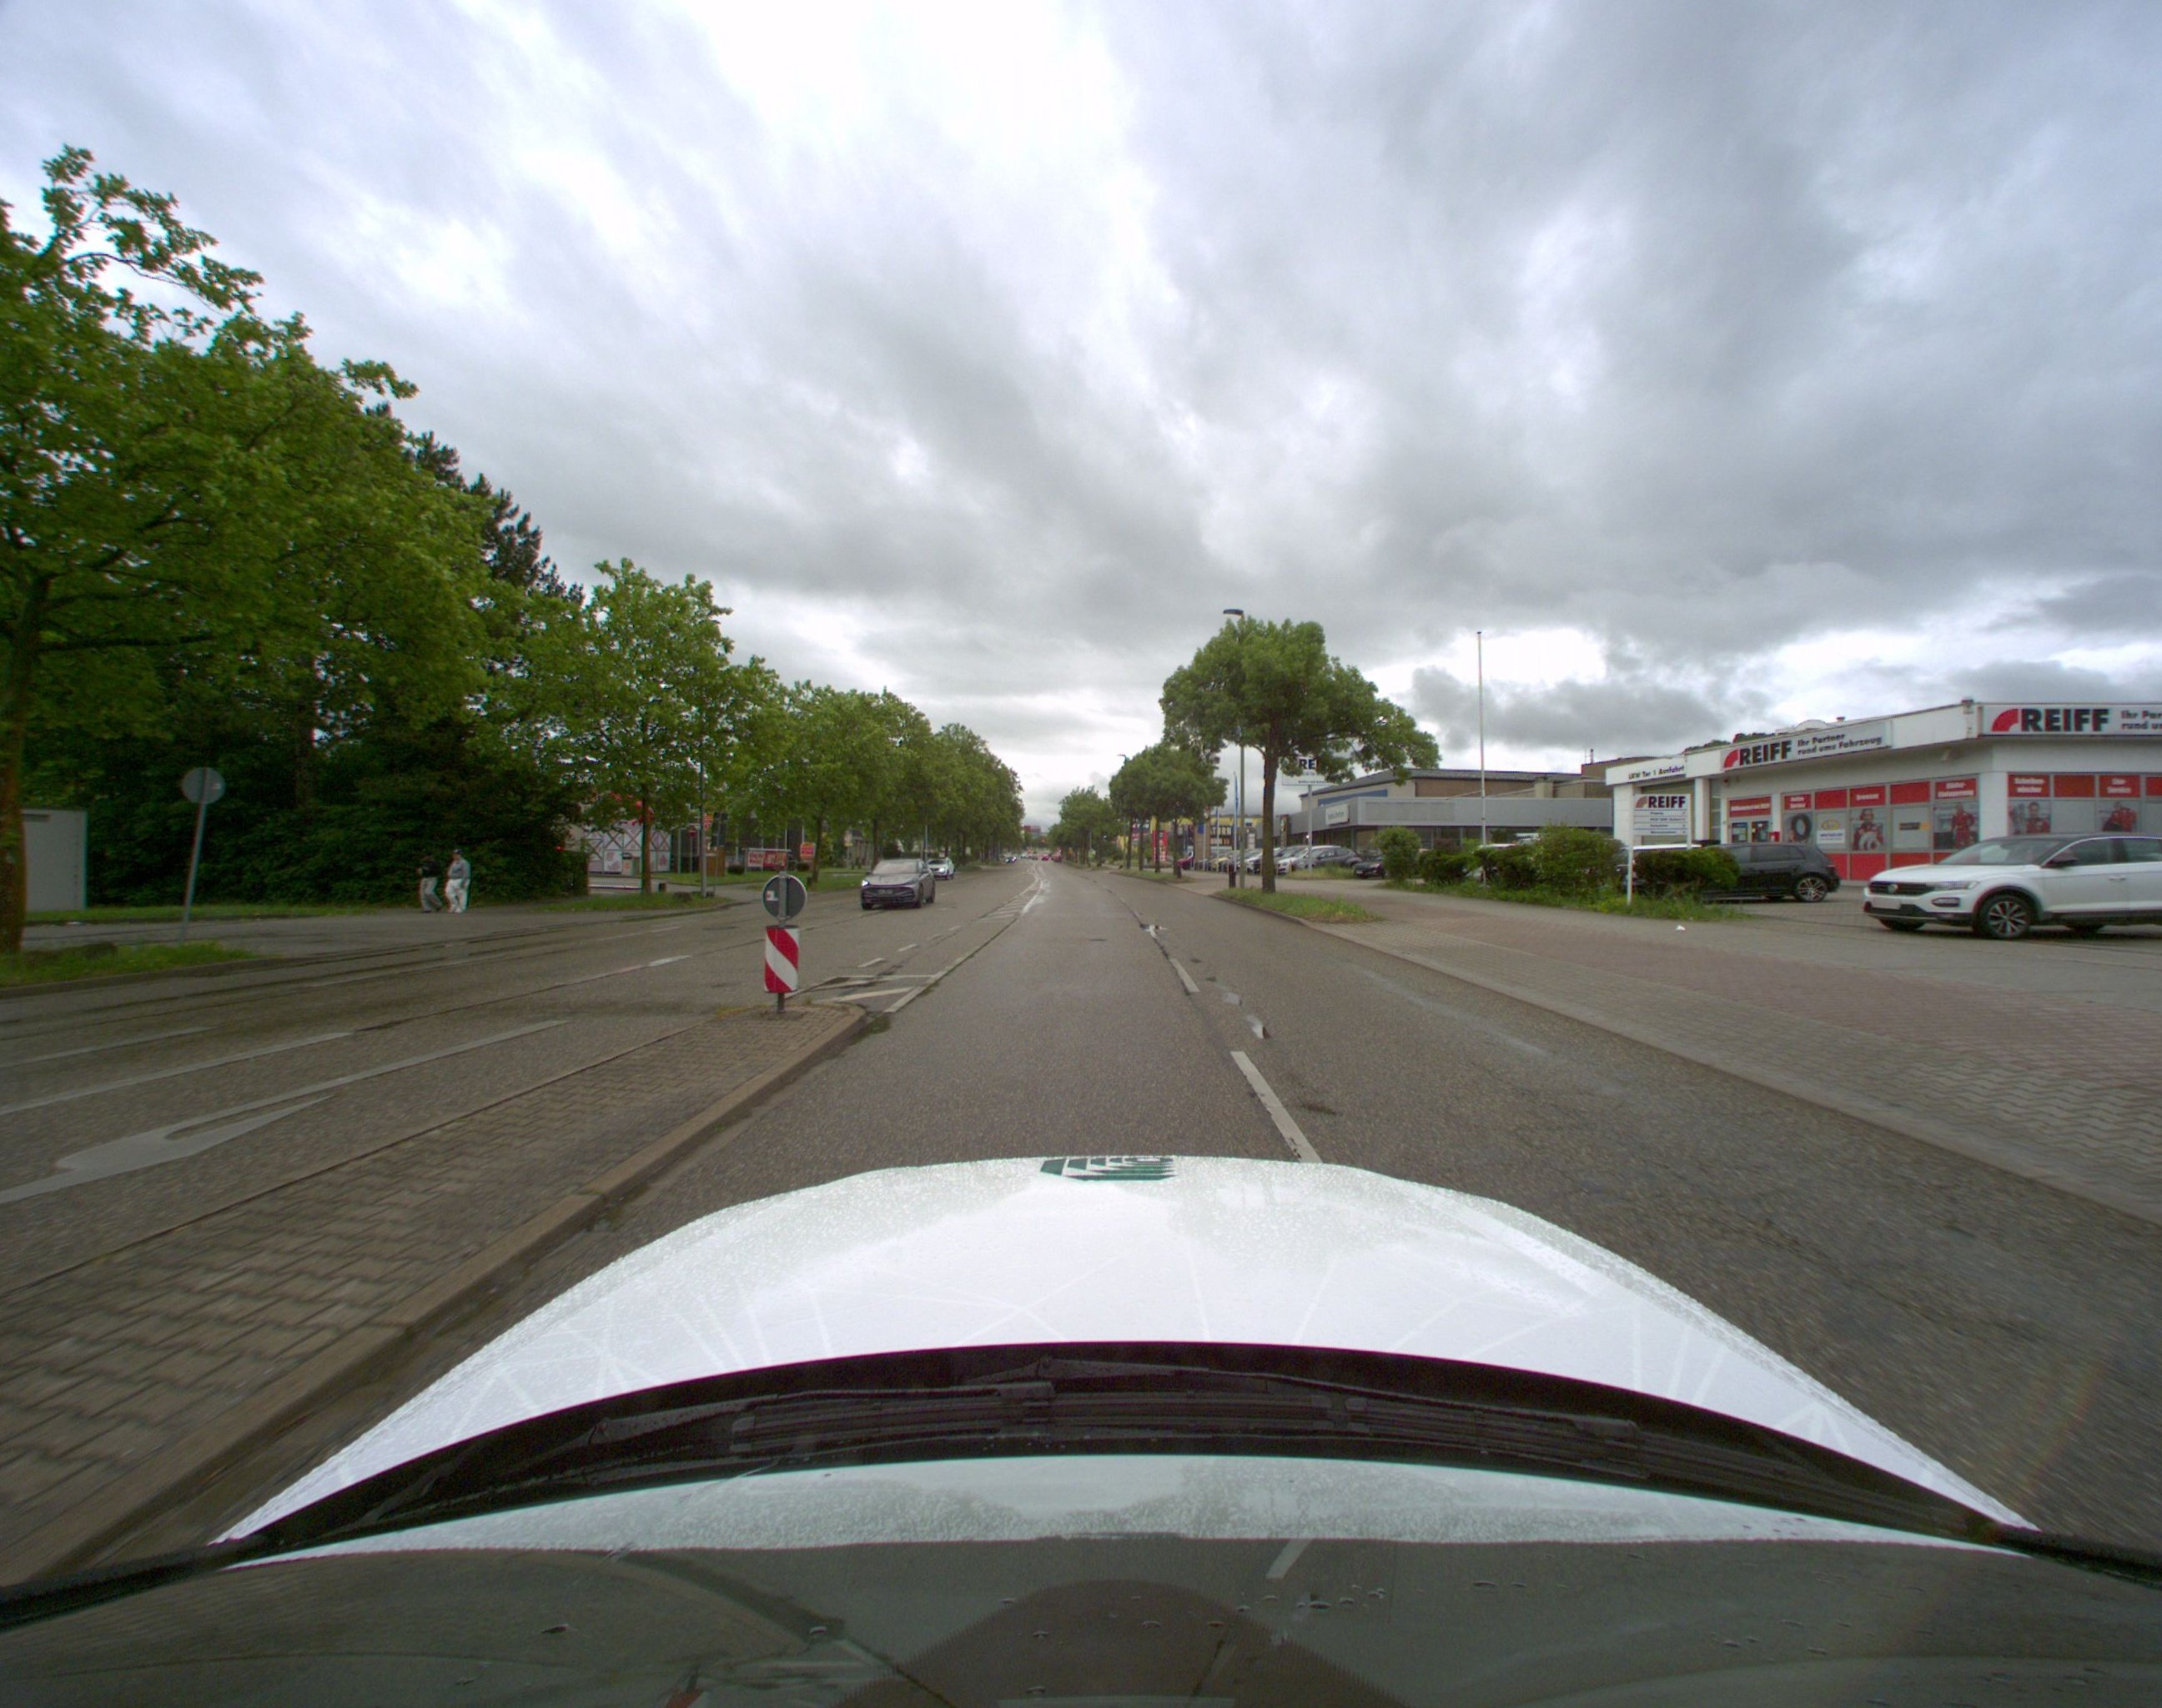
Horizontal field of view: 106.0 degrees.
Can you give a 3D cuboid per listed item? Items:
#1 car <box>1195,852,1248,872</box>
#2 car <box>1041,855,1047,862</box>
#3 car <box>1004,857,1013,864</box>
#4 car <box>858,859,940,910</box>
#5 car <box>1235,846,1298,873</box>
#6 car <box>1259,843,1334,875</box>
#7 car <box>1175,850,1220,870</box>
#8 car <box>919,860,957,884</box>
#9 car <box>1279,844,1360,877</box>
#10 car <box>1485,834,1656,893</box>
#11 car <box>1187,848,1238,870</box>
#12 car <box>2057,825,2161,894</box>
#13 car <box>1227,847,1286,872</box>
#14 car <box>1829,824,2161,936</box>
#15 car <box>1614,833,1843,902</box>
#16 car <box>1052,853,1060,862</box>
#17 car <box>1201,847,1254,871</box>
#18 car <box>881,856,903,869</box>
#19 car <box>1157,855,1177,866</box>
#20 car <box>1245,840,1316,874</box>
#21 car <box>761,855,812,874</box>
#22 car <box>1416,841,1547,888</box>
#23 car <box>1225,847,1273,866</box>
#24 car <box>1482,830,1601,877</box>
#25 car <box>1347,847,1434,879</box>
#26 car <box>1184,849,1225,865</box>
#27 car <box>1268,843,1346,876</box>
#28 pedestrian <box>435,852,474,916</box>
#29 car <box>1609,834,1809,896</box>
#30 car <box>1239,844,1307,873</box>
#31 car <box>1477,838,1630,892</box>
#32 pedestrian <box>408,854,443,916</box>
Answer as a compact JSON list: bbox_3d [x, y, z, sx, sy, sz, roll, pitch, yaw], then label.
[{"bbox_3d":[11.601,0.641,67.465,3.977,1.538,1.798,-1,0,-3],"label":"car"},{"bbox_3d":[-11.019,1.381,243.594,1.740,2.013,3.997,-1,0,-2],"label":"car"},{"bbox_3d":[-15.765,1.432,177.450,1.799,1.463,3.842,-2,0,-2],"label":"car"},{"bbox_3d":[-5.970,0.961,27.259,1.806,1.562,4.595,-1,-1,-2],"label":"car"},{"bbox_3d":[13.020,0.394,57.270,3.975,1.786,1.811,-1,0,-1],"label":"car"},{"bbox_3d":[13.097,0.308,49.674,3.975,1.584,1.811,-5,0,-1],"label":"car"},{"bbox_3d":[10.789,0.554,75.648,3.832,1.603,1.794,-3,0,-3],"label":"car"},{"bbox_3d":[-10.381,1.285,59.457,1.921,1.619,4.399,-1,-1,1],"label":"car"},{"bbox_3d":[13.076,0.361,44.745,3.824,1.461,1.826,-5,0,-3],"label":"car"},{"bbox_3d":[14.735,0.275,24.755,4.110,1.662,1.830,-1,1,17],"label":"car"},{"bbox_3d":[11.161,0.415,69.336,3.977,1.647,1.843,-3,0,-3],"label":"car"},{"bbox_3d":[24.973,0.119,18.349,3.834,1.479,1.787,0,-1,-1],"label":"car"},{"bbox_3d":[13.095,0.395,60.813,3.975,1.786,1.811,-1,0,-1],"label":"car"},{"bbox_3d":[14.357,0.373,12.332,4.153,1.552,1.893,-1,0,6],"label":"car"},{"bbox_3d":[15.479,0.326,19.681,3.960,1.522,1.724,-1,0,12],"label":"car"},{"bbox_3d":[-5.824,0.873,190.732,1.740,2.013,3.997,-1,0,-2],"label":"car"},{"bbox_3d":[11.734,0.400,65.255,3.833,1.566,1.664,-4,0,-5],"label":"car"},{"bbox_3d":[-21.569,0.941,93.232,1.820,1.486,3.934,-1,0,-4],"label":"car"},{"bbox_3d":[12.192,0.896,116.165,1.579,1.428,4.248,0,0,-12],"label":"car"},{"bbox_3d":[12.627,0.187,51.717,3.975,1.786,1.811,-5,0,-1],"label":"car"},{"bbox_3d":[-21.137,0.745,58.483,3.160,1.155,1.292,2,0,5],"label":"car"},{"bbox_3d":[14.481,0.391,29.707,4.022,1.597,1.994,-1,0,18],"label":"car"},{"bbox_3d":[15.634,0.206,75.850,4.094,1.621,1.881,-2,0,1],"label":"car"},{"bbox_3d":[22.068,-0.011,39.143,4.642,2.149,1.963,-1,0,-3],"label":"car"},{"bbox_3d":[15.504,0.431,40.882,3.666,1.464,1.794,-1,0,0],"label":"car"},{"bbox_3d":[15.901,0.363,104.537,4.825,2.014,1.982,-1,-1,-13],"label":"car"},{"bbox_3d":[13.091,0.315,47.293,3.975,1.543,1.811,-5,0,-1],"label":"car"},{"bbox_3d":[-17.502,0.821,22.762,0.659,1.767,0.586,0,0,20],"label":"pedestrian"},{"bbox_3d":[16.887,0.298,22.103,3.901,1.523,1.739,-1,0,12],"label":"car"},{"bbox_3d":[12.805,0.281,54.543,3.980,1.587,1.810,-5,1,-4],"label":"car"},{"bbox_3d":[15.349,0.357,26.727,4.106,1.662,1.831,-1,1,21],"label":"car"},{"bbox_3d":[-18.242,0.845,22.674,0.510,1.683,0.540,-1,0,-1],"label":"pedestrian"}]
